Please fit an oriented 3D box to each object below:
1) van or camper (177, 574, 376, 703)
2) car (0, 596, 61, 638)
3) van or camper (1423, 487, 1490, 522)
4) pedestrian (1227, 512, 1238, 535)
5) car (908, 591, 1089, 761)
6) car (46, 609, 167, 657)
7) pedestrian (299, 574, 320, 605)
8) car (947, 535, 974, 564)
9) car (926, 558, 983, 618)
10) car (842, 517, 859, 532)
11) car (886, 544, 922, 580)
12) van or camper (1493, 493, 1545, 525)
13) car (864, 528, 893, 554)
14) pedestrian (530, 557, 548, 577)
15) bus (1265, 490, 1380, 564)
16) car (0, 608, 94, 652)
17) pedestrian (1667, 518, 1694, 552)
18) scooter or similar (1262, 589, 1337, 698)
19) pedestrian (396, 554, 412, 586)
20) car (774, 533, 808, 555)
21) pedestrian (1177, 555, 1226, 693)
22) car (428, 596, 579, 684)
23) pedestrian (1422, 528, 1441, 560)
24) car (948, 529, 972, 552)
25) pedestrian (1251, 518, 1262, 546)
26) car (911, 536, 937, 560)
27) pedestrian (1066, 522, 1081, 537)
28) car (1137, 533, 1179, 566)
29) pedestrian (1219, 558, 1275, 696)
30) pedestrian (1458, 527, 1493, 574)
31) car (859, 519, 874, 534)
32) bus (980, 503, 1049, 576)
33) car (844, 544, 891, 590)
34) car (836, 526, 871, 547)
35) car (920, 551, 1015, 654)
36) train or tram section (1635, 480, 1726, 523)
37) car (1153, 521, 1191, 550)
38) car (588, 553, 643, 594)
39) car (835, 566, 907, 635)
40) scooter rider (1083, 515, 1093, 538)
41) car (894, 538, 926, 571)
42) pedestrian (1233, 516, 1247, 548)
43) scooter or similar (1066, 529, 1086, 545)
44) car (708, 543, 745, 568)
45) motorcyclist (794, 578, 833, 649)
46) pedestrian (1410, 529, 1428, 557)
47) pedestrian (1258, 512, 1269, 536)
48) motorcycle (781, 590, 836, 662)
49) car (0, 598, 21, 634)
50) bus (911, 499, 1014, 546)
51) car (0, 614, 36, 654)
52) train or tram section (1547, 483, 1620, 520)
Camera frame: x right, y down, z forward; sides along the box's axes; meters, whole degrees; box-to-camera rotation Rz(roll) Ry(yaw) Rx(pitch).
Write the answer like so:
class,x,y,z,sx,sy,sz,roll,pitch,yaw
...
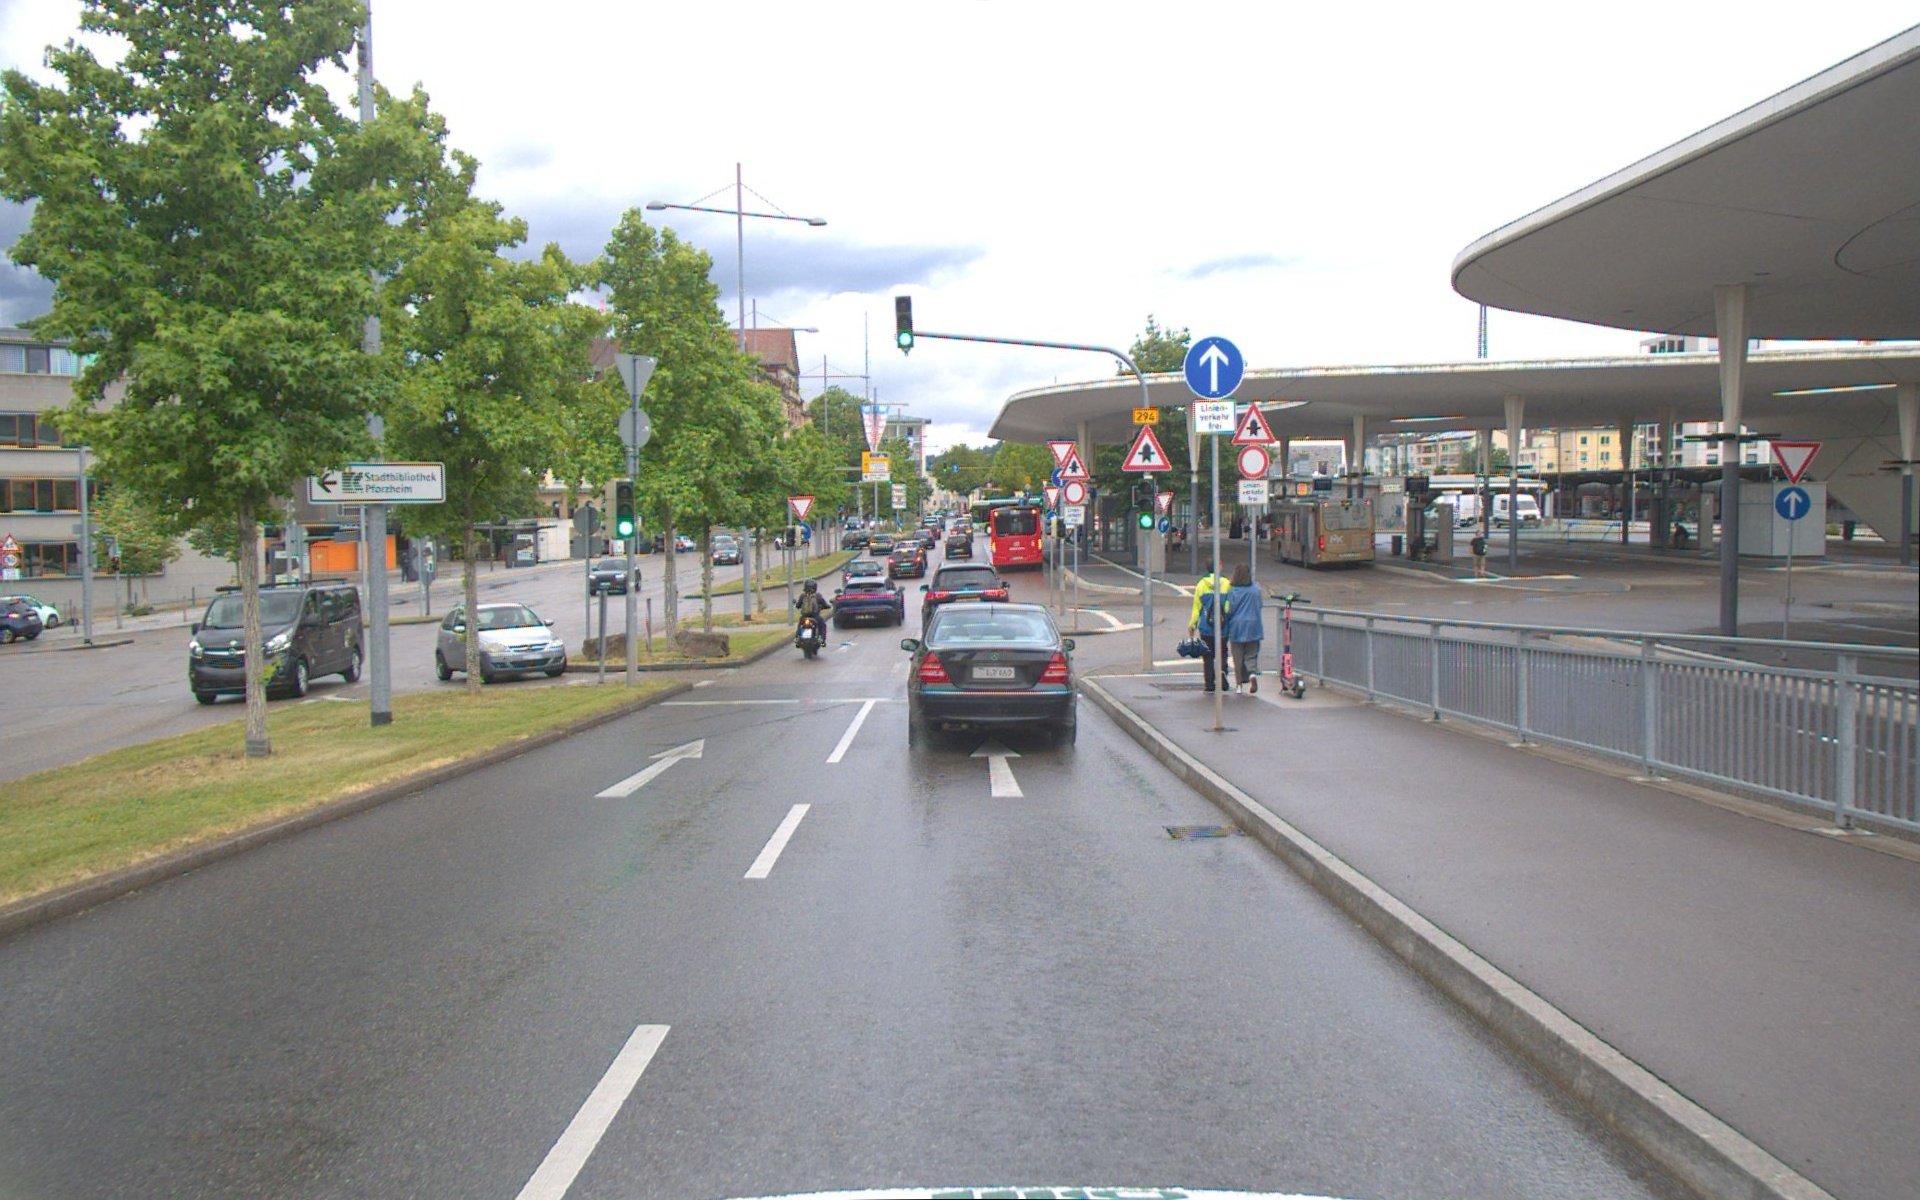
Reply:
class,x,y,z,sx,sy,sz,roll,pitch,yaw
van or camper,-12.826,0.679,31.439,2.176,2.108,5.273,-3,0,-9
car,-39.923,0.722,69.573,1.593,1.521,3.586,-2,3,15
van or camper,38.983,-7.502,129.934,4.514,2.602,2.118,1,1,-2
pedestrian,18.730,-5.264,113.817,0.568,1.606,0.560,1,-1,29
car,0.345,0.689,17.466,1.663,1.487,4.304,-1,1,0
car,-32.991,1.249,63.997,3.584,1.463,1.832,-4,4,3
pedestrian,-31.248,-0.518,79.440,0.664,1.416,0.721,-2,3,-2
car,0.029,-3.209,104.726,1.543,1.593,3.872,-4,4,0
car,-0.179,-0.419,53.812,1.706,1.593,3.872,-4,4,0
car,-13.223,-9.136,200.162,1.744,1.593,3.431,-4,4,0
car,-2.767,-1.922,82.734,1.543,1.530,3.873,-4,4,1
van or camper,41.701,-6.768,123.528,1.953,2.139,5.480,1,1,-1
car,-5.780,-4.144,117.368,1.827,1.713,4.000,1,1,-1
pedestrian,-30.104,-2.360,118.329,0.955,1.289,0.850,3,4,20
bus,16.887,-3.538,78.005,2.666,3.095,12.093,-3,3,0
car,-38.255,1.225,69.074,1.593,1.521,3.586,-2,3,15
pedestrian,33.813,-3.047,77.635,0.779,1.613,0.907,0,2,-6
scooter or similar,4.075,0.505,19.964,0.454,1.242,1.859,-2,0,-1
pedestrian,-30.880,-1.690,91.836,0.464,1.712,0.764,-2,3,6
car,-14.850,-4.884,145.159,1.625,1.836,3.602,2,0,-30
pedestrian,3.020,0.293,20.697,0.512,1.699,0.580,0,0,-1
car,-8.819,0.745,31.767,1.618,1.473,3.830,-4,2,-34
pedestrian,21.438,-2.535,75.226,0.776,1.401,0.634,-1,3,17
car,-0.018,-4.860,134.812,1.827,1.713,4.000,1,1,-1
pedestrian,18.397,-4.221,102.573,0.549,1.721,0.613,-1,3,-7
car,-2.694,-3.909,125.032,1.827,1.713,4.000,1,1,-1
pedestrian,7.787,-4.814,113.319,0.894,1.002,0.634,0,-1,14
car,9.852,-2.527,82.510,1.614,1.478,3.238,-2,4,-2
pedestrian,3.581,0.339,20.667,0.577,1.700,0.580,1,-1,-1
pedestrian,19.523,-1.864,62.636,0.709,1.712,1.013,-5,3,-26
car,-11.679,-9.176,206.130,1.543,1.593,3.431,-4,4,0
bus,2.723,-3.262,86.272,3.219,3.348,10.883,-3,3,1
car,-3.857,-1.422,69.461,1.642,1.650,3.872,-4,4,0
car,-8.553,-5.079,132.804,1.703,1.588,3.743,-2,2,-22
car,0.162,-0.015,37.796,1.918,1.907,4.875,-4,4,0
train or tram section,66.195,-9.067,152.274,3.068,3.741,11.618,2,3,-1
car,13.033,-3.982,101.797,1.677,1.690,4.240,-1,3,-1
car,-16.774,-1.321,80.760,1.870,1.690,4.857,-2,4,-4
car,-2.543,-0.022,48.174,1.779,1.597,4.405,-4,4,0
scooter rider,8.777,-5.042,113.306,0.579,1.515,0.765,-1,2,14
car,-2.763,-2.576,92.446,1.543,1.593,3.872,-4,4,0
pedestrian,18.668,-4.535,110.315,0.709,2.049,0.669,1,-1,26
scooter or similar,7.949,-4.313,113.554,1.216,1.030,0.765,-1,3,14
car,-16.545,-3.172,117.379,1.809,1.530,4.922,-2,3,1
motorcyclist,-2.995,0.276,33.832,0.628,1.370,0.689,-2,3,3
pedestrian,21.493,-2.681,77.419,0.776,1.247,0.634,-1,3,17
pedestrian,20.923,-5.209,113.975,0.569,1.606,0.559,1,-1,35
motorcycle,-3.073,0.512,33.670,0.776,1.283,1.856,-3,3,4
car,-43.429,0.798,72.233,1.732,1.521,3.773,0,4,38
bus,0.116,-7.167,154.124,2.820,4.056,11.698,-4,4,-39
car,-35.783,1.244,61.067,3.508,1.374,1.479,0,3,34
train or tram section,66.011,-10.493,175.417,3.068,3.722,11.619,2,3,-1
